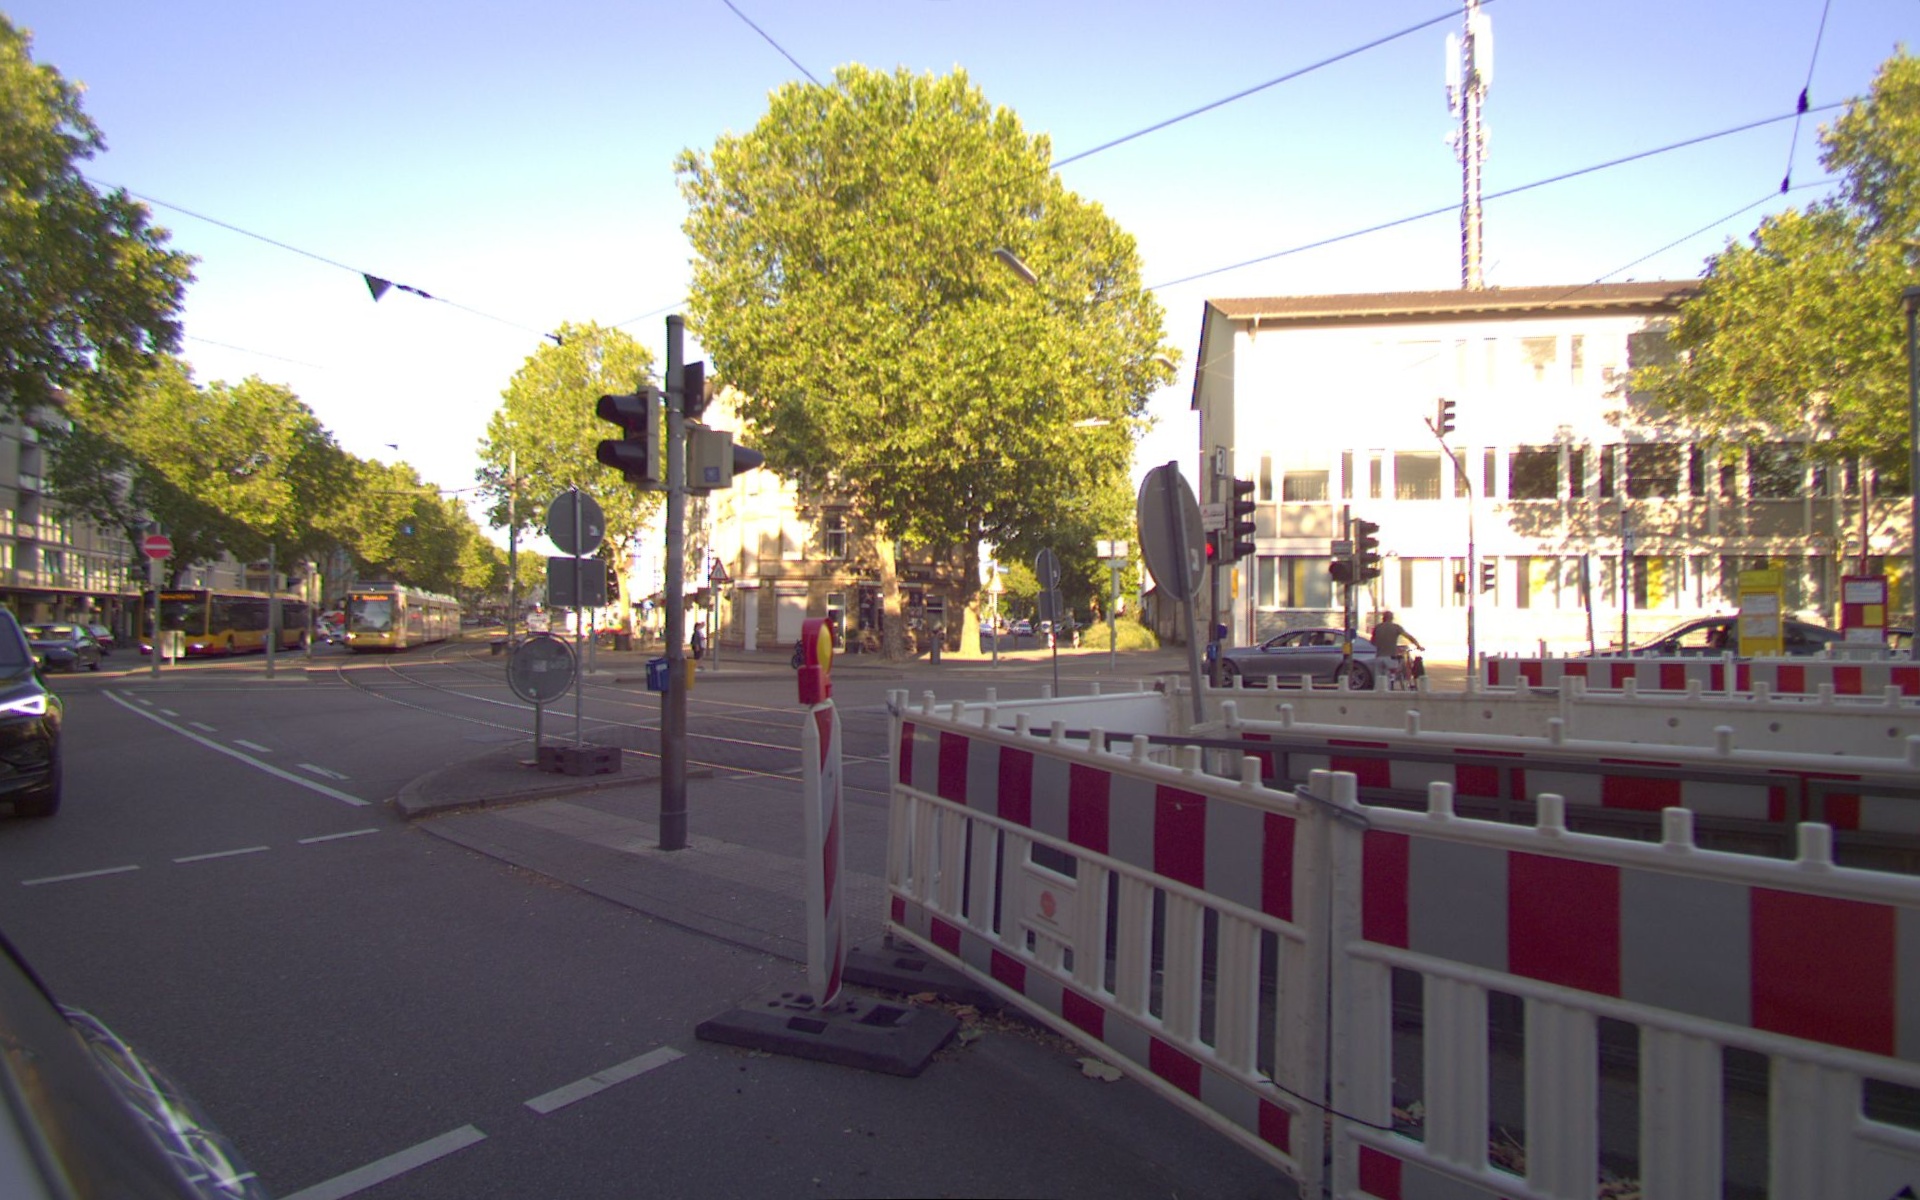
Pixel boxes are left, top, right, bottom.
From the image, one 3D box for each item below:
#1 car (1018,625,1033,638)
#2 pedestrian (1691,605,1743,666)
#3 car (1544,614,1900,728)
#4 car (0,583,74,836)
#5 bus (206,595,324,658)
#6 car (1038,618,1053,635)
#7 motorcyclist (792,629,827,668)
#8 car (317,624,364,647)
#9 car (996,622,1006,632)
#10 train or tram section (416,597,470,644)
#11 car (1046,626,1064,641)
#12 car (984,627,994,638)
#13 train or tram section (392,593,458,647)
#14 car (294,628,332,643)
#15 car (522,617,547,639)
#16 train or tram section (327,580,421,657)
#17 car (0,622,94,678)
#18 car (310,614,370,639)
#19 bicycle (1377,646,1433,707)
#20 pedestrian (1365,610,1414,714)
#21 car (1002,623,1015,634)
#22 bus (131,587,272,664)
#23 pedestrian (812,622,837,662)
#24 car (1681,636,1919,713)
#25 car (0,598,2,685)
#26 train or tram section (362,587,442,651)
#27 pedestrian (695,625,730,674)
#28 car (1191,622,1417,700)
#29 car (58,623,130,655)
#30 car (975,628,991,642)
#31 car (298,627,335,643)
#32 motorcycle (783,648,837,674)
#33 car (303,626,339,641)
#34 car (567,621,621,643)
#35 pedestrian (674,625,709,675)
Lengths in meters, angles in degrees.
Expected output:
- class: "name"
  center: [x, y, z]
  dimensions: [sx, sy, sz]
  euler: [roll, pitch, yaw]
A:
- class: "car"
  center: [7.654, 3.641, 117.995]
  dimensions: [1.705, 1.505, 3.996]
  euler: [0, -2, 3]
- class: "pedestrian"
  center: [22.086, 1.040, 29.535]
  dimensions: [0.873, 1.742, 0.807]
  euler: [0, -2, 2]
- class: "car"
  center: [12.593, 1.104, 17.150]
  dimensions: [4.574, 1.680, 1.879]
  euler: [-1, 0, 33]
- class: "car"
  center: [-8.295, 0.751, 7.741]
  dimensions: [4.299, 1.670, 1.823]
  euler: [-2, -2, 43]
- class: "bus"
  center: [-37.416, 1.443, 54.902]
  dimensions: [2.708, 3.127, 9.526]
  euler: [1, -2, -18]
- class: "car"
  center: [11.224, 3.518, 133.012]
  dimensions: [1.827, 2.160, 3.996]
  euler: [0, -2, 3]
- class: "motorcyclist"
  center: [-5.207, 1.675, 35.007]
  dimensions: [0.983, 1.325, 0.674]
  euler: [0, -1, 39]
- class: "car"
  center: [-43.164, 2.436, 70.645]
  dimensions: [1.880, 1.486, 4.432]
  euler: [1, -1, -19]
- class: "car"
  center: [7.999, 5.238, 196.946]
  dimensions: [1.827, 2.031, 3.996]
  euler: [0, -2, 3]
- class: "train or tram section"
  center: [-40.833, 1.645, 80.159]
  dimensions: [2.795, 3.514, 10.372]
  euler: [0, -1, -21]
- class: "car"
  center: [9.855, 3.459, 105.412]
  dimensions: [1.705, 1.505, 3.996]
  euler: [0, -2, 3]
- class: "car"
  center: [5.439, 6.091, 192.345]
  dimensions: [1.827, 2.031, 3.996]
  euler: [0, -2, 3]
- class: "train or tram section"
  center: [-37.069, 1.404, 70.473]
  dimensions: [2.830, 3.514, 10.372]
  euler: [0, -1, -21]
- class: "car"
  center: [-56.086, 3.042, 87.759]
  dimensions: [1.200, 1.290, 2.593]
  euler: [0, -1, 41]
- class: "car"
  center: [-41.566, 2.758, 98.878]
  dimensions: [2.131, 2.138, 4.994]
  euler: [2, -3, -22]
- class: "train or tram section"
  center: [-29.376, 0.953, 51.188]
  dimensions: [2.776, 3.514, 10.372]
  euler: [0, -1, -23]
- class: "car"
  center: [-26.128, 1.412, 29.061]
  dimensions: [1.626, 1.483, 3.716]
  euler: [1, -2, -36]
- class: "car"
  center: [-61.528, 2.648, 100.545]
  dimensions: [1.872, 2.394, 4.820]
  euler: [0, -1, 28]
- class: "bicycle"
  center: [7.553, 1.277, 17.131]
  dimensions: [0.322, 0.973, 1.558]
  euler: [-2, -2, 45]
- class: "pedestrian"
  center: [7.550, 1.075, 17.803]
  dimensions: [0.588, 1.772, 0.597]
  euler: [2, -2, -45]
- class: "car"
  center: [6.301, 3.717, 132.654]
  dimensions: [1.705, 1.505, 3.996]
  euler: [0, -2, 3]
- class: "bus"
  center: [-34.145, 1.183, 46.029]
  dimensions: [2.707, 3.127, 9.527]
  euler: [1, -2, -22]
- class: "pedestrian"
  center: [-6.063, 1.874, 45.361]
  dimensions: [0.801, 1.769, 0.787]
  euler: [-2, -2, 39]
- class: "car"
  center: [17.619, 1.466, 20.532]
  dimensions: [4.512, 1.459, 1.983]
  euler: [-1, -3, 25]
- class: "car"
  center: [-20.290, 0.822, 20.174]
  dimensions: [1.719, 1.652, 4.303]
  euler: [0, -1, -43]
- class: "train or tram section"
  center: [-33.338, 1.186, 60.820]
  dimensions: [2.795, 3.514, 10.372]
  euler: [0, -1, -21]
- class: "pedestrian"
  center: [-7.810, 1.549, 31.947]
  dimensions: [0.795, 1.520, 0.793]
  euler: [-1, -2, 16]
- class: "car"
  center: [8.015, 1.397, 23.754]
  dimensions: [4.678, 1.667, 1.931]
  euler: [-2, -3, 35]
- class: "car"
  center: [-42.136, 1.875, 49.308]
  dimensions: [1.624, 1.483, 3.720]
  euler: [0, -2, -23]
- class: "car"
  center: [2.628, 3.840, 112.629]
  dimensions: [1.705, 1.505, 3.996]
  euler: [0, -2, 3]
- class: "car"
  center: [-57.779, 3.099, 90.916]
  dimensions: [1.200, 1.399, 2.593]
  euler: [0, -1, 41]
- class: "motorcycle"
  center: [-5.206, 2.107, 35.006]
  dimensions: [1.993, 0.814, 0.674]
  euler: [0, -1, 39]
- class: "car"
  center: [-59.195, 3.079, 93.787]
  dimensions: [1.200, 1.355, 2.593]
  euler: [0, -1, 41]
- class: "car"
  center: [-33.725, 2.932, 93.329]
  dimensions: [1.894, 1.991, 4.607]
  euler: [-1, -2, 27]
- class: "pedestrian"
  center: [-8.260, 1.537, 31.167]
  dimensions: [0.793, 1.520, 0.795]
  euler: [0, -2, 11]
